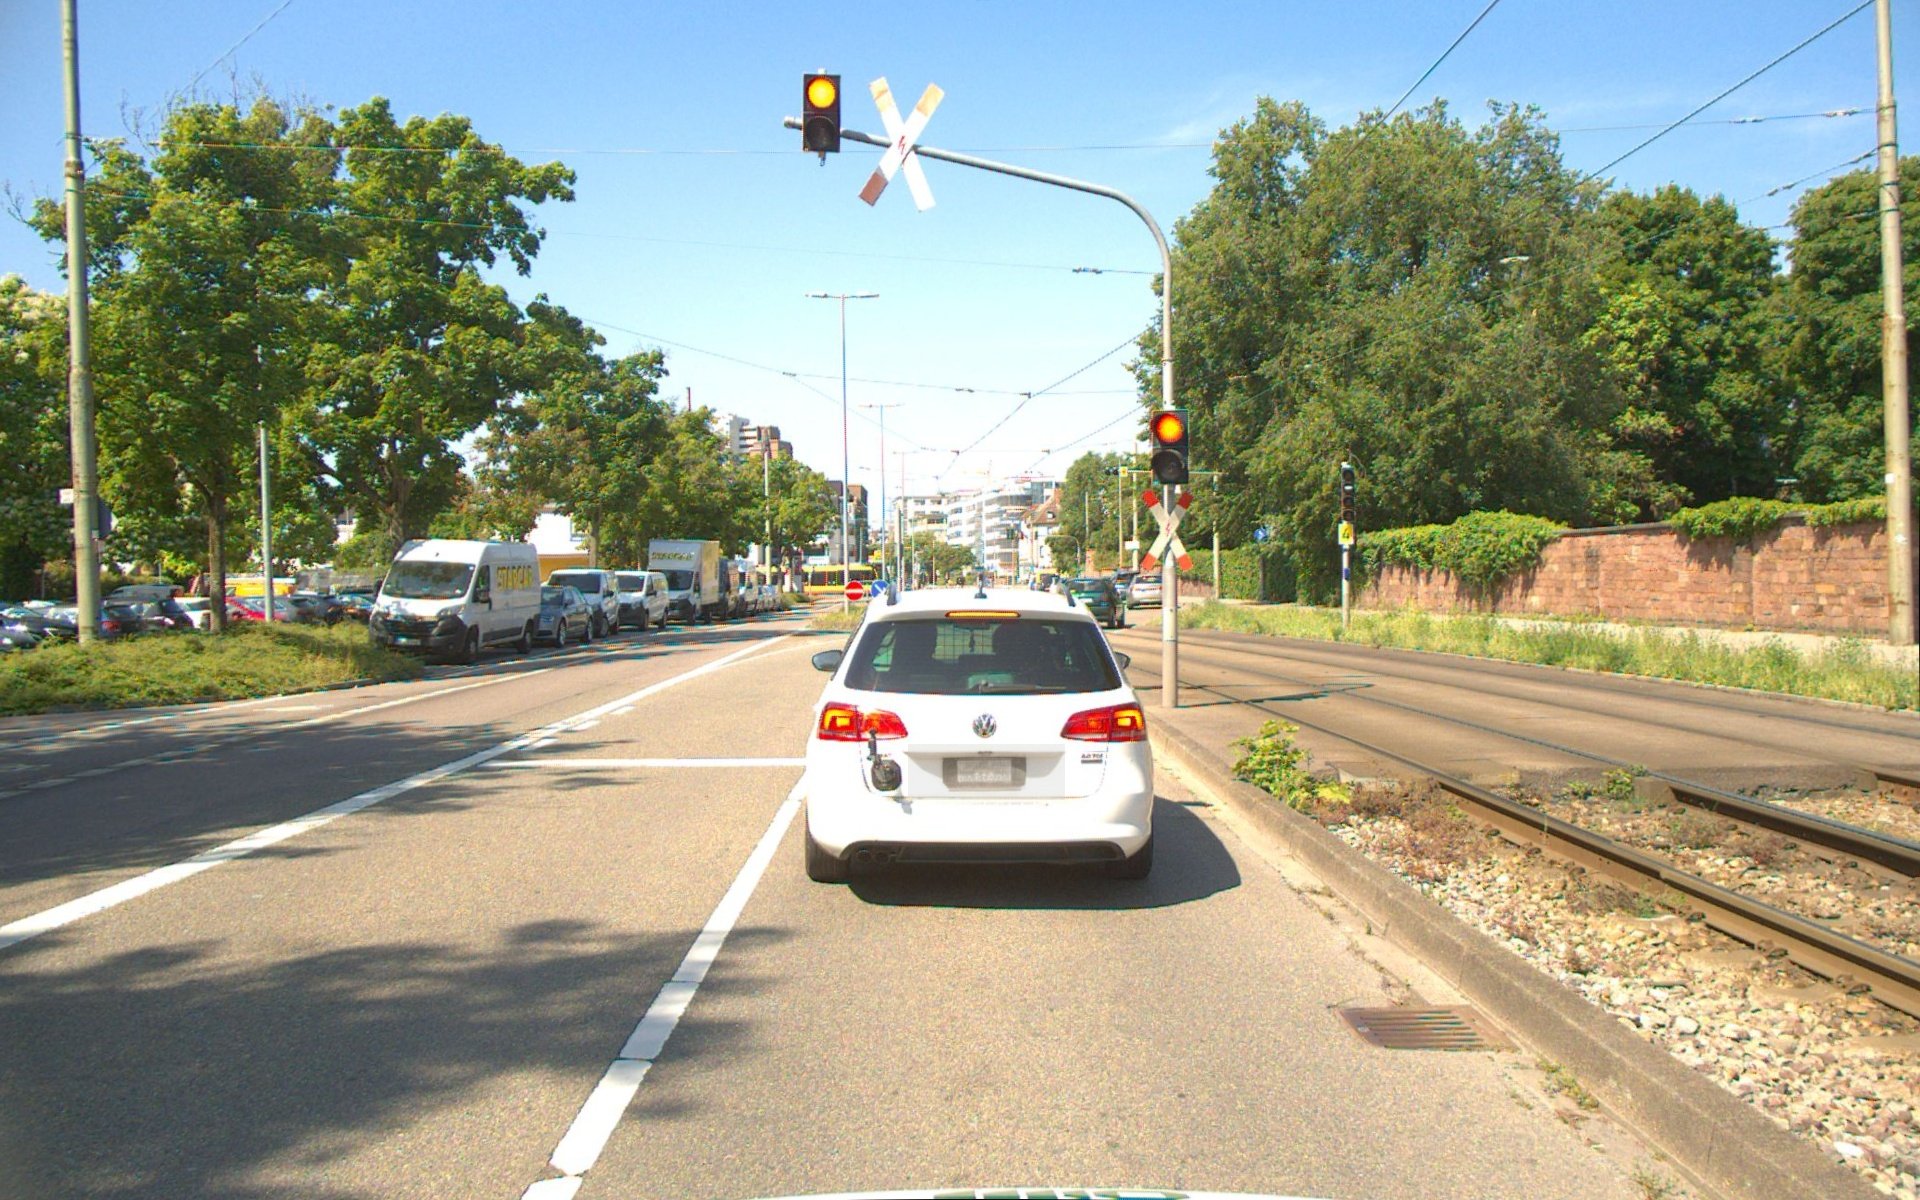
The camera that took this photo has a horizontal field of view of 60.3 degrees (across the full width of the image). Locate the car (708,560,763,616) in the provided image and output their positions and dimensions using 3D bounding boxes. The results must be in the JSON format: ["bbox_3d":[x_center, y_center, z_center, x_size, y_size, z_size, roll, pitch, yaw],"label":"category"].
[{"bbox_3d":[-10.680,-0.573,79.167,1.806,2.538,5.856,-1,1,0],"label":"car"}]

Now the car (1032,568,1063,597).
[{"bbox_3d":[8.084,-1.583,153.563,2.413,2.542,5.909,1,0,-1],"label":"car"}]

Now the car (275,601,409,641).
[{"bbox_3d":[-21.264,0.702,56.971,3.904,1.246,1.772,-1,1,2],"label":"car"}]

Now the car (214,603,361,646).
[{"bbox_3d":[-21.309,0.770,52.518,3.904,1.246,1.772,-1,1,2],"label":"car"}]

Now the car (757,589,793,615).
[{"bbox_3d":[-11.114,0.089,99.771,1.744,1.458,4.037,-1,1,-1],"label":"car"}]

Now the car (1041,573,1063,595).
[{"bbox_3d":[7.877,-1.386,141.928,1.656,1.844,3.453,1,0,-1],"label":"car"}]

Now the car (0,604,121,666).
[{"bbox_3d":[-20.909,0.781,36.429,3.907,1.246,1.771,-1,1,-2],"label":"car"}]

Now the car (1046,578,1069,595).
[{"bbox_3d":[7.848,-1.091,133.497,1.549,1.370,3.453,1,0,-1],"label":"car"}]

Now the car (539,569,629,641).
[{"bbox_3d":[-10.993,0.100,48.698,1.807,1.971,5.189,-1,1,-4],"label":"car"}]

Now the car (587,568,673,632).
[{"bbox_3d":[-10.924,-0.043,55.134,1.806,1.994,5.134,-1,1,0],"label":"car"}]

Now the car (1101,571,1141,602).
[{"bbox_3d":[8.241,-0.705,84.938,1.822,1.539,3.914,1,1,2],"label":"car"}]

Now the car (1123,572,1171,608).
[{"bbox_3d":[8.001,-0.429,70.604,1.821,1.441,4.329,1,1,9],"label":"car"}]

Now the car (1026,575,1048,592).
[{"bbox_3d":[7.724,-1.630,165.444,1.953,1.624,4.000,1,0,0],"label":"car"}]

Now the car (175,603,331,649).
[{"bbox_3d":[-21.323,0.762,49.945,3.904,1.246,1.772,-1,1,2],"label":"car"}]

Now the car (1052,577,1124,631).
[{"bbox_3d":[3.578,0.075,45.754,1.708,1.412,3.916,1,1,8],"label":"car"}]

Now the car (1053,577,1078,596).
[{"bbox_3d":[7.933,-0.977,124.706,1.549,1.370,3.453,1,0,-1],"label":"car"}]

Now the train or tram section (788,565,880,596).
[{"bbox_3d":[-13.627,-2.126,178.235,11.047,3.309,2.300,1,0,36],"label":"train or tram section"}]

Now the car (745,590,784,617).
[{"bbox_3d":[-11.255,0.160,95.420,1.806,1.458,4.037,-1,1,-1],"label":"car"}]

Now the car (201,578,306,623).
[{"bbox_3d":[-34.104,0.021,79.924,4.175,2.049,1.997,1,0,-7],"label":"car"}]

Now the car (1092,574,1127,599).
[{"bbox_3d":[8.682,-0.790,96.436,1.710,1.432,3.913,1,1,0],"label":"car"}]

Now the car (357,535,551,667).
[{"bbox_3d":[-10.744,-0.025,35.723,2.016,2.544,6.309,1,1,2],"label":"car"}]

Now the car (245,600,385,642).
[{"bbox_3d":[-21.357,0.691,54.850,3.904,1.246,1.772,-1,1,2],"label":"car"}]

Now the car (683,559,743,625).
[{"bbox_3d":[-10.667,-0.384,71.657,1.806,2.715,5.003,-1,1,0],"label":"car"}]

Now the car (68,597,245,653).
[{"bbox_3d":[-21.736,0.657,44.835,3.904,1.373,1.772,-1,1,2],"label":"car"}]

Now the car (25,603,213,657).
[{"bbox_3d":[-21.532,0.761,42.441,3.904,1.246,1.772,-1,1,2],"label":"car"}]

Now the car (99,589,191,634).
[{"bbox_3d":[-36.817,0.501,74.783,3.354,1.909,1.552,-1,1,-3],"label":"car"}]

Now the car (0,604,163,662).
[{"bbox_3d":[-21.218,0.776,39.040,3.904,1.246,1.772,-1,1,2],"label":"car"}]

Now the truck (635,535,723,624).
[{"bbox_3d":[-10.731,-0.778,63.642,2.309,3.177,6.890,-1,1,-1],"label":"truck"}]

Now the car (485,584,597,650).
[{"bbox_3d":[-10.554,0.387,41.945,1.806,1.543,4.196,-1,1,-1],"label":"car"}]

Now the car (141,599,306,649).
[{"bbox_3d":[-21.090,0.665,47.432,3.904,1.286,1.772,-1,1,2],"label":"car"}]

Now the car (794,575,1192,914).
[{"bbox_3d":[0.099,0.613,9.234,1.732,1.471,3.912,1,1,-2],"label":"car"}]

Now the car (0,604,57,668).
[{"bbox_3d":[-20.932,0.775,33.811,3.907,1.246,1.771,-1,1,-2],"label":"car"}]
